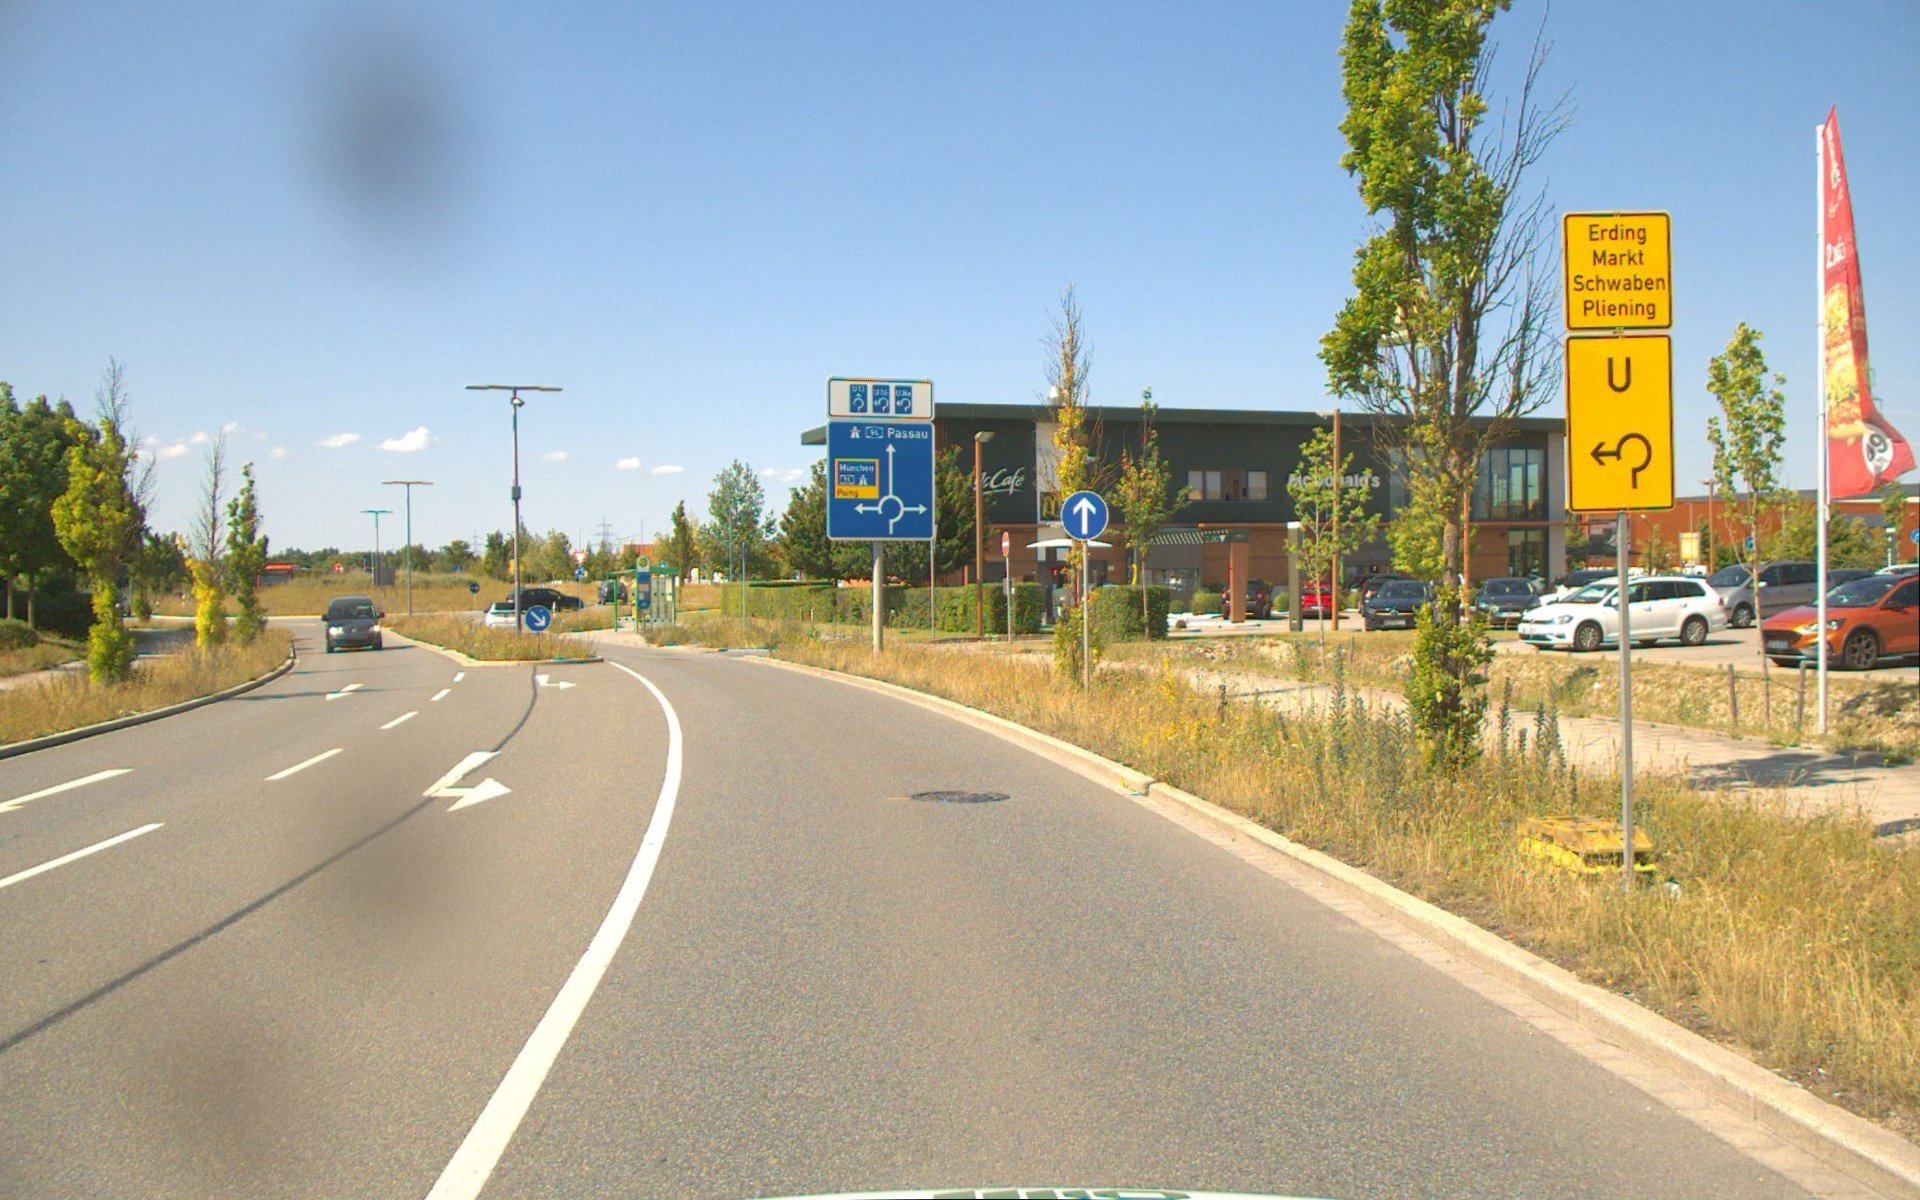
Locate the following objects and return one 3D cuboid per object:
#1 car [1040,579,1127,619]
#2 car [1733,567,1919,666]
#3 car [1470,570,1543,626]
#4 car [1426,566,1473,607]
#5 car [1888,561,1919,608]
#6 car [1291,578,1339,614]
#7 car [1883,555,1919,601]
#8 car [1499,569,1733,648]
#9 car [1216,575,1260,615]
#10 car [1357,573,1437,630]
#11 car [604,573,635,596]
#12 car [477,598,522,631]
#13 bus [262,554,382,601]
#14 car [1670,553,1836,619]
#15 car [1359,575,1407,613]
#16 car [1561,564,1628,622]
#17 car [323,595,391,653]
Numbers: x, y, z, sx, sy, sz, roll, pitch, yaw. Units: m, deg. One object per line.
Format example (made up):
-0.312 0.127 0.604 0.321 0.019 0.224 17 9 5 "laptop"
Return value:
4.672 -0.040 63.180 1.767 1.459 3.974 -1 0 -21 "car"
15.543 0.231 28.121 4.134 1.516 1.862 -2 1 -15 "car"
15.603 -0.089 47.139 1.749 1.487 4.169 -1 0 21 "car"
21.754 -0.595 73.362 1.755 1.731 4.001 -1 0 20 "car"
31.596 -0.521 53.897 1.749 1.476 4.169 -1 0 21 "car"
15.118 -0.191 70.614 1.754 1.459 4.004 -1 0 9 "car"
38.547 -0.886 66.647 1.749 1.788 4.169 -1 0 21 "car"
14.047 0.148 35.482 4.450 1.516 1.862 -2 1 -15 "car"
11.715 -0.225 69.832 1.754 1.632 4.004 -1 0 9 "car"
12.130 0.014 45.792 1.662 1.487 4.169 -1 0 21 "car"
-22.556 -0.994 109.638 1.585 1.459 3.788 -1 0 -5 "car"
-21.180 0.643 75.975 1.594 1.459 3.767 -1 0 -22 "car"
-48.956 -1.801 127.465 2.727 3.132 12.217 -1 2 9 "bus"
21.396 -0.376 44.643 4.099 1.664 1.779 -1 0 -23 "car"
18.513 -0.277 72.278 1.755 1.539 4.002 -1 0 18 "car"
18.684 -0.213 48.694 1.749 1.607 4.169 -1 0 21 "car"
-20.752 0.769 56.826 1.925 1.825 4.395 -3 1 -23 "car"
